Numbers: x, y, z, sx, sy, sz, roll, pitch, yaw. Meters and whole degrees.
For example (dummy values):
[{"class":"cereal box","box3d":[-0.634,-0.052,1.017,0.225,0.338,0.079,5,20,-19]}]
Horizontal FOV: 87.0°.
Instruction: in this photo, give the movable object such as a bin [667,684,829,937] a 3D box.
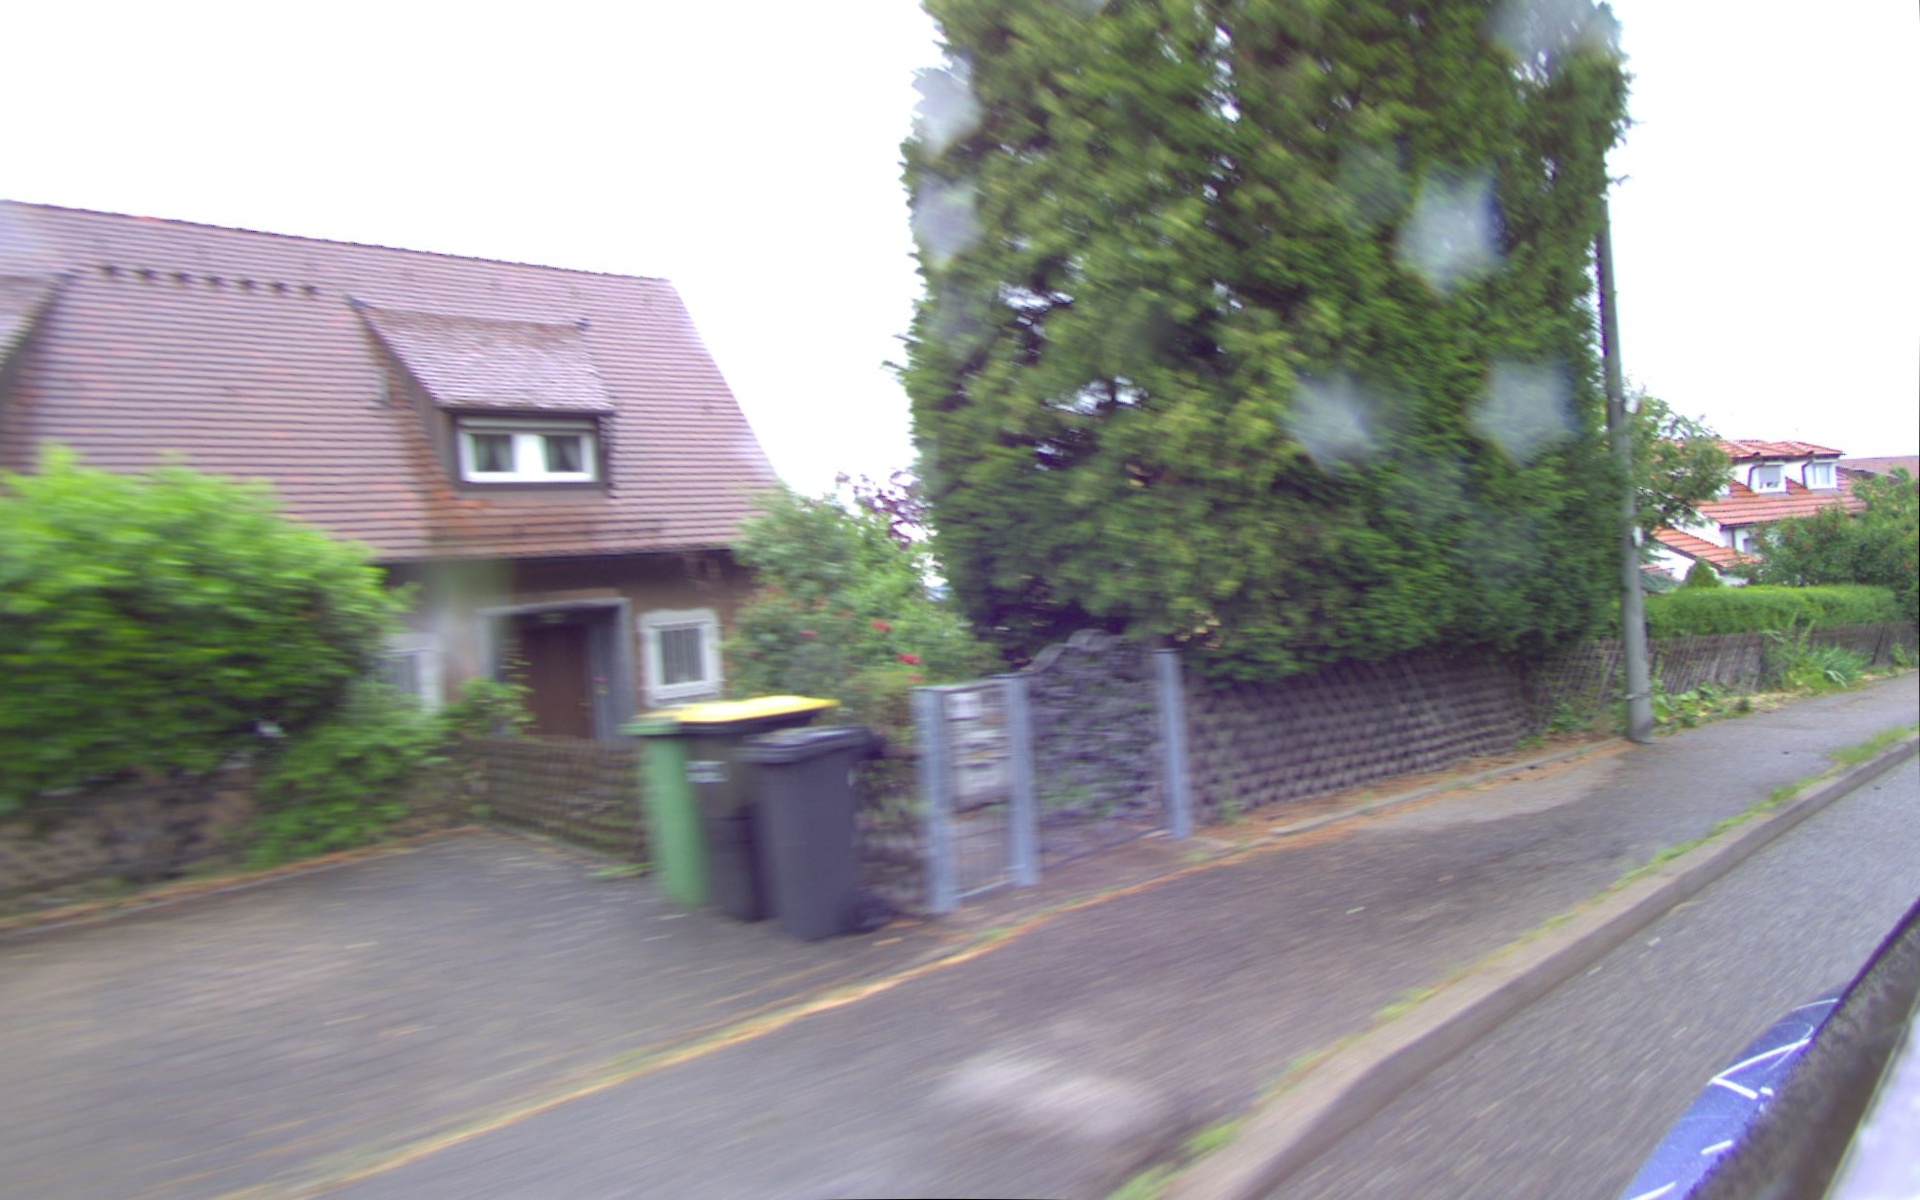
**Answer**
[{"class":"movable object such as a bin","box3d":[-1.069,1.009,5.093,0.584,1.132,0.505,0,-4,-42]}]

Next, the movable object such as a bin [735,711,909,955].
[{"class":"movable object such as a bin","box3d":[-0.644,1.037,4.718,0.584,0.982,0.505,0,-4,-42]}]

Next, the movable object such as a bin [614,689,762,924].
[{"class":"movable object such as a bin","box3d":[-1.499,1.089,5.570,0.584,1.153,0.523,0,-4,-42]}]
